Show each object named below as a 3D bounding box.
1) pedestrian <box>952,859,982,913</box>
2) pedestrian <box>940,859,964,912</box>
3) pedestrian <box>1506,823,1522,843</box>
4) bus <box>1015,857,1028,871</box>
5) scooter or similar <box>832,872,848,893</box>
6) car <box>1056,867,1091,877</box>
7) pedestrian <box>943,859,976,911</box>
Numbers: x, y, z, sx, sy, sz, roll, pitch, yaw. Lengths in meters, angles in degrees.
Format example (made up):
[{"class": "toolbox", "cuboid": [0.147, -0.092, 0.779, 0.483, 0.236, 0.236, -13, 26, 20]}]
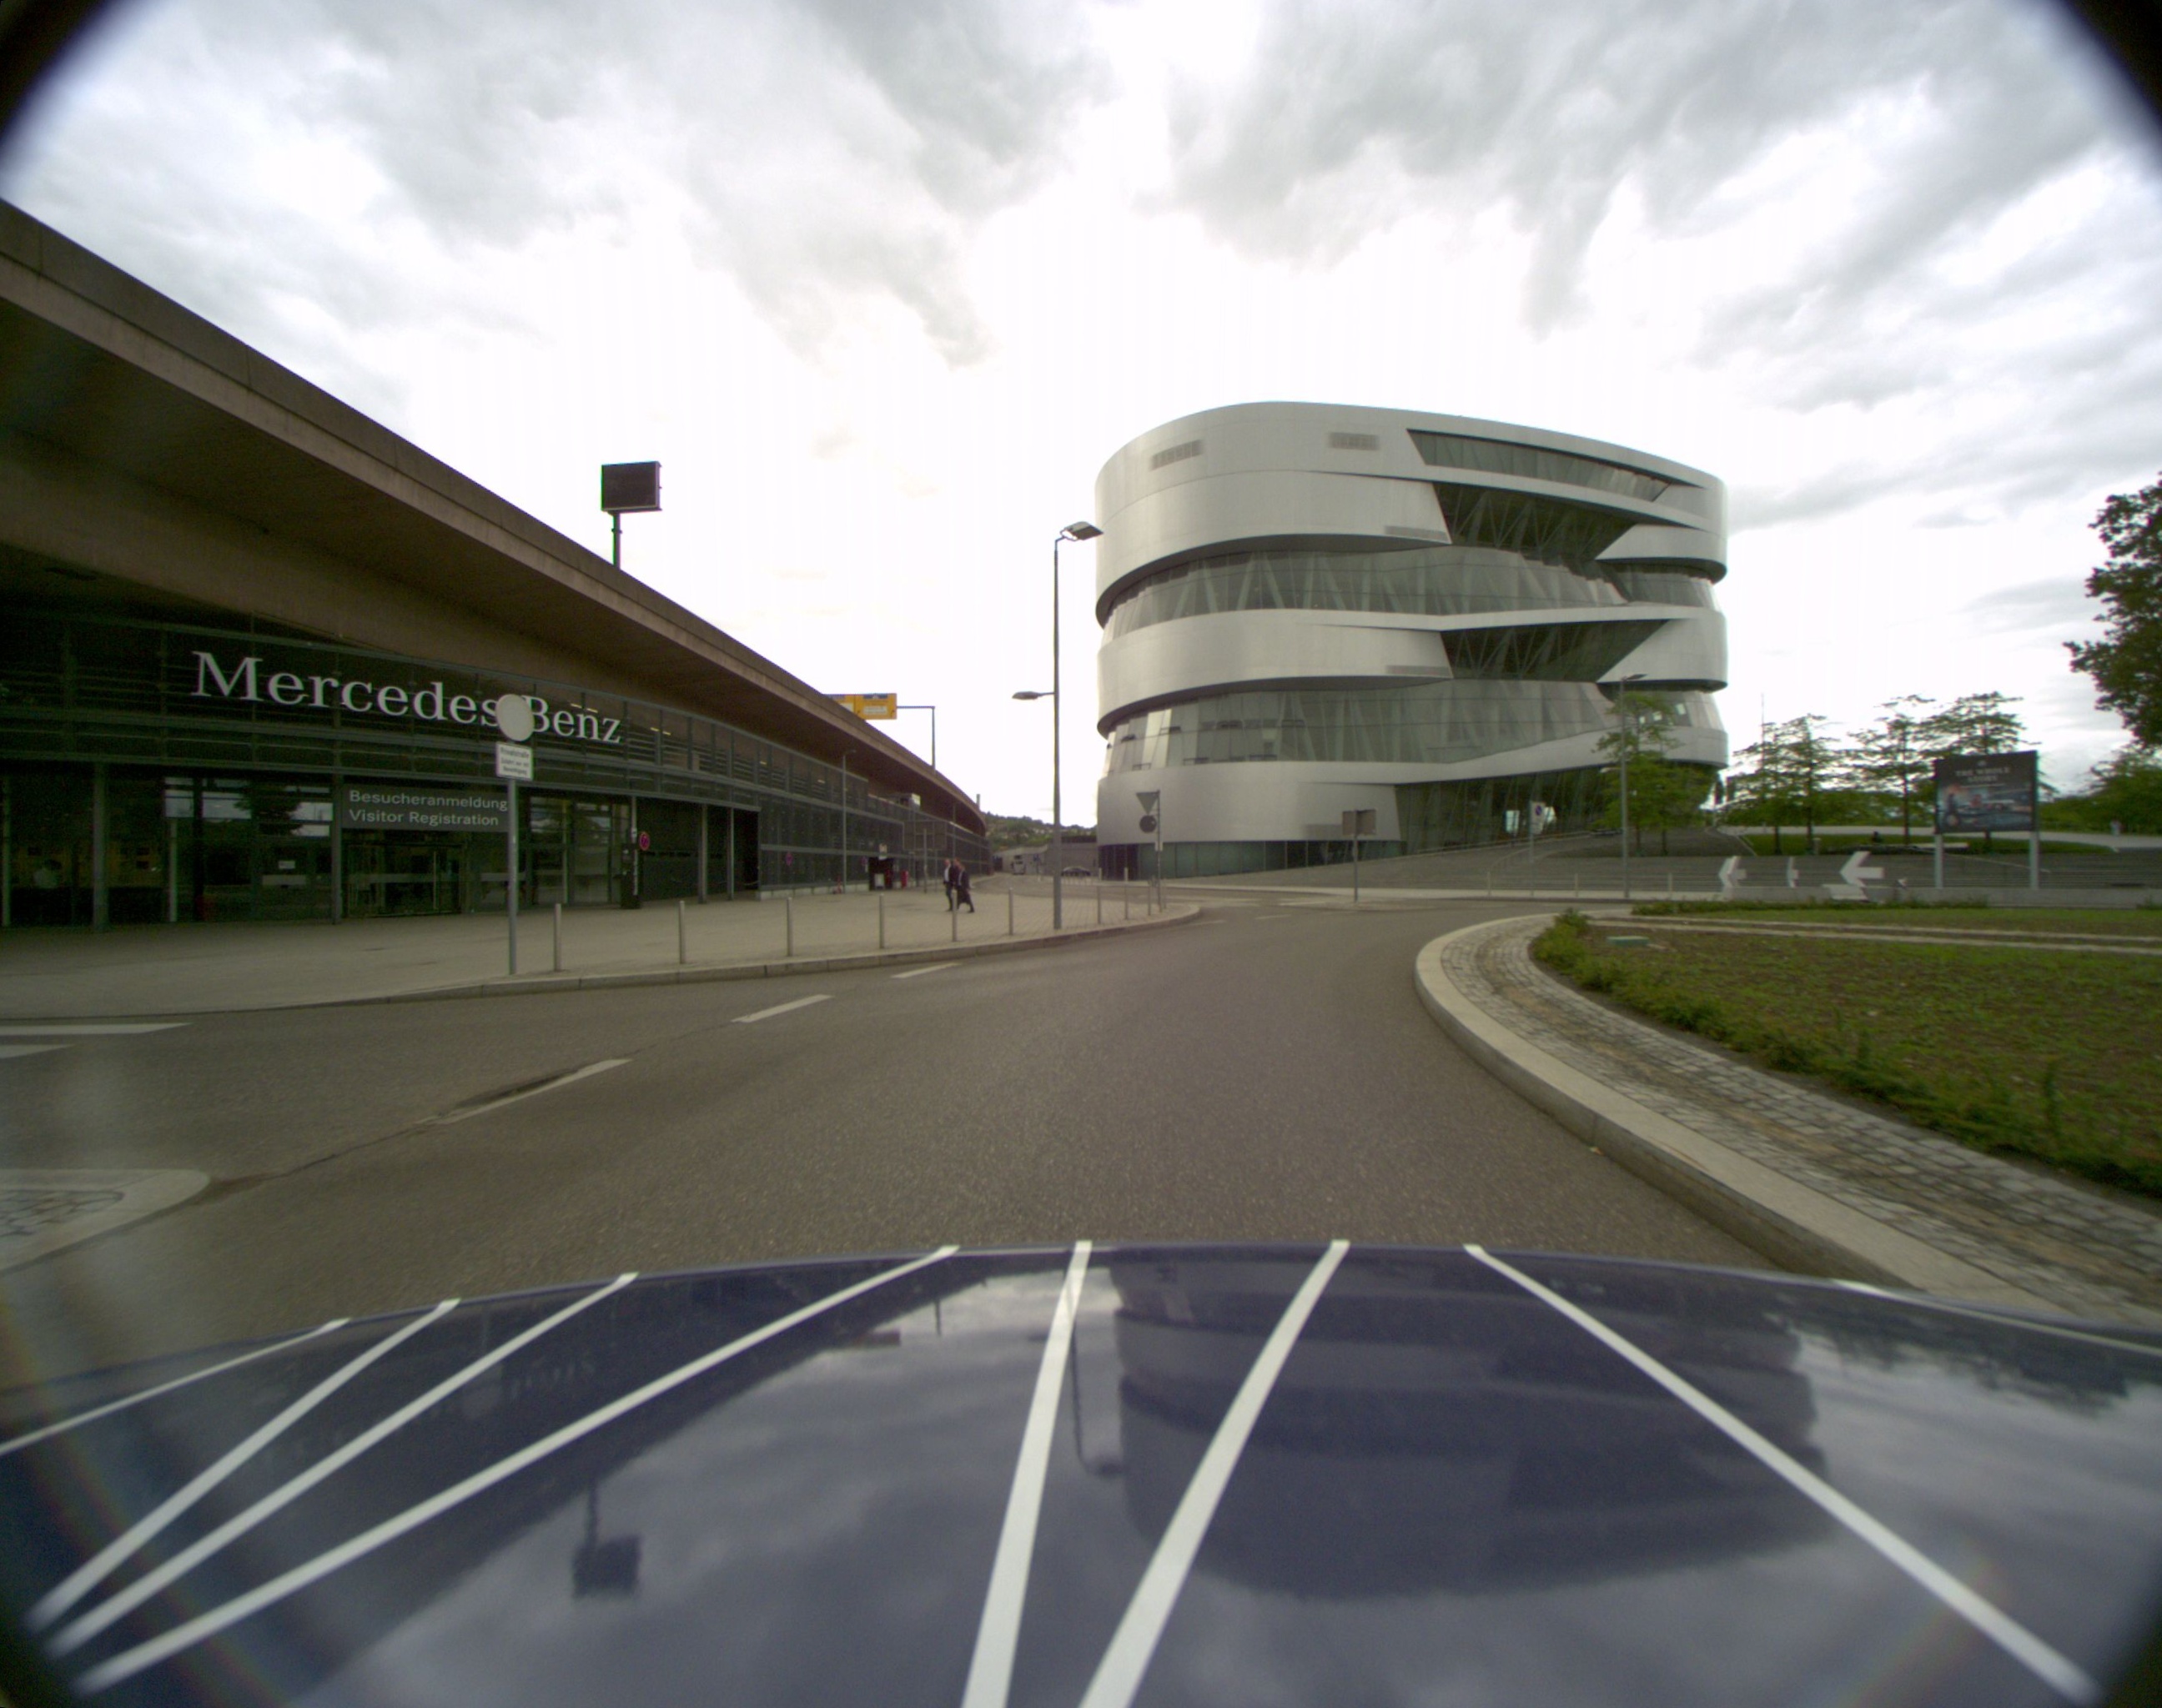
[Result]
[{"class": "pedestrian", "cuboid": [-3.649, 1.024, 24.329, 0.773, 1.694, 0.864, 1, -1, -21]}, {"class": "pedestrian", "cuboid": [-4.471, 1.081, 26.327, 0.783, 1.787, 0.865, 0, -1, -10]}, {"class": "pedestrian", "cuboid": [42.907, -2.070, 75.231, 0.952, 1.913, 0.852, -4, 0, -9]}, {"class": "bus", "cuboid": [-14.625, 2.439, 186.879, 2.931, 3.420, 6.966, 0, -2, -5]}, {"class": "scooter or similar", "cuboid": [-13.444, 1.580, 42.398, 0.381, 1.116, 1.428, 0, -1, 1]}, {"class": "car", "cuboid": [-1.090, 2.498, 106.889, 4.904, 1.389, 1.535, 0, -1, -1]}, {"class": "pedestrian", "cuboid": [-4.043, 1.040, 25.291, 0.774, 1.694, 0.785, 1, -2, -42]}]
